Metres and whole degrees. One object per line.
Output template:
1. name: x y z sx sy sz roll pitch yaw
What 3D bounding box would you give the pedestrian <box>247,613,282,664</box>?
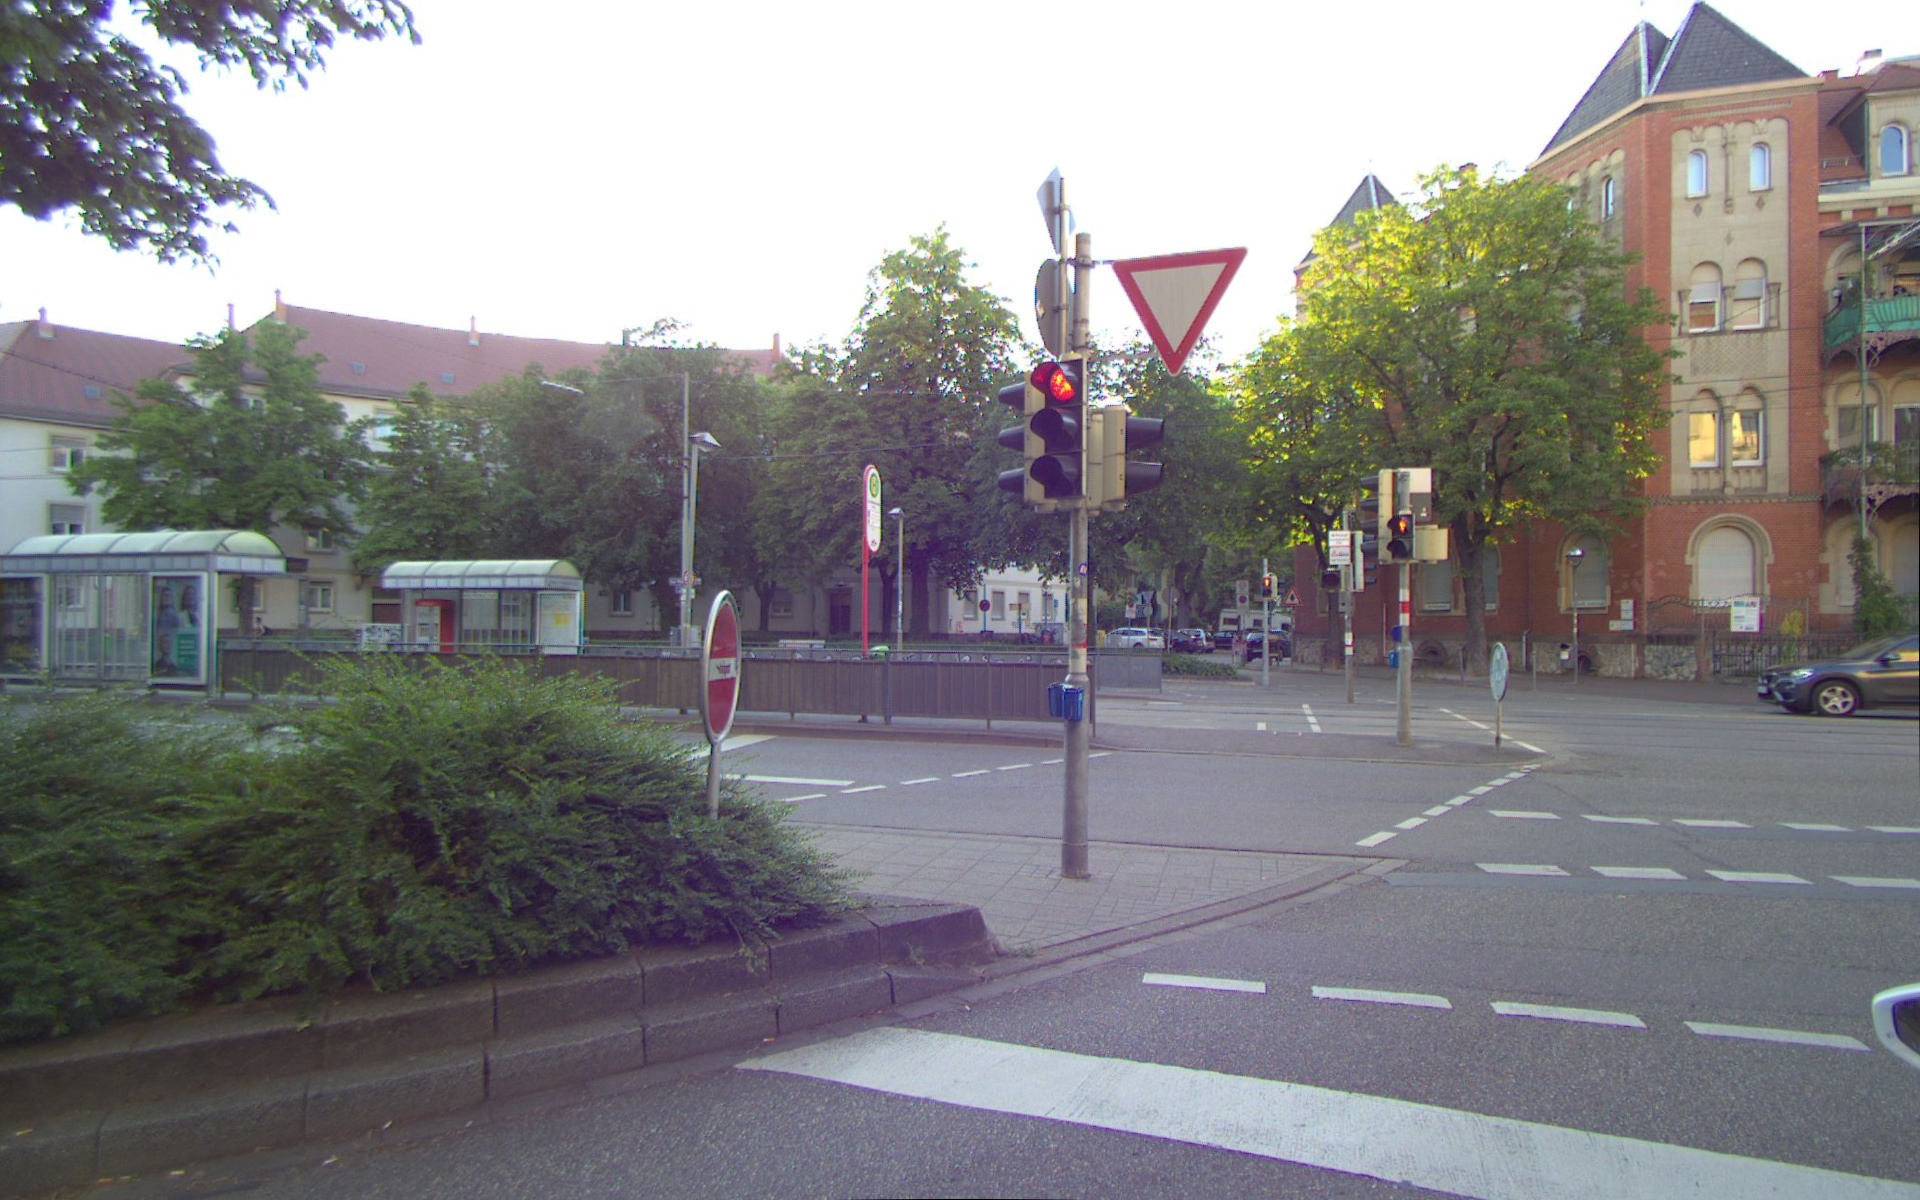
1. pedestrian: -29.131 1.600 42.098 1.047 2.113 1.007 1 -2 -28

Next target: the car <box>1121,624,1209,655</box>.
1. car: 12.498 2.383 61.418 4.883 1.726 1.994 1 -1 35

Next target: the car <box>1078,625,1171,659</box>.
1. car: 9.464 2.390 57.971 4.883 1.726 1.994 1 -1 35

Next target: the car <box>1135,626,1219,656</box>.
1. car: 13.846 2.600 64.180 4.883 1.726 1.994 1 -1 35

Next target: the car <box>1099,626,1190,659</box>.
1. car: 10.939 2.502 59.663 4.883 1.726 1.994 1 -1 35

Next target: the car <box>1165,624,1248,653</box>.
1. car: 16.208 2.527 66.057 4.883 1.726 1.994 1 -1 35

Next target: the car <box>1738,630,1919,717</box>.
1. car: 17.400 1.331 18.590 4.334 1.530 1.950 0 -2 22

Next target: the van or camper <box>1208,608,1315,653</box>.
1. van or camper: 22.850 2.281 76.275 7.266 3.124 2.665 1 -1 35

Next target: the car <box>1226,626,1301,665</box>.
1. car: 14.729 2.175 48.603 1.968 1.726 4.702 1 -1 37
